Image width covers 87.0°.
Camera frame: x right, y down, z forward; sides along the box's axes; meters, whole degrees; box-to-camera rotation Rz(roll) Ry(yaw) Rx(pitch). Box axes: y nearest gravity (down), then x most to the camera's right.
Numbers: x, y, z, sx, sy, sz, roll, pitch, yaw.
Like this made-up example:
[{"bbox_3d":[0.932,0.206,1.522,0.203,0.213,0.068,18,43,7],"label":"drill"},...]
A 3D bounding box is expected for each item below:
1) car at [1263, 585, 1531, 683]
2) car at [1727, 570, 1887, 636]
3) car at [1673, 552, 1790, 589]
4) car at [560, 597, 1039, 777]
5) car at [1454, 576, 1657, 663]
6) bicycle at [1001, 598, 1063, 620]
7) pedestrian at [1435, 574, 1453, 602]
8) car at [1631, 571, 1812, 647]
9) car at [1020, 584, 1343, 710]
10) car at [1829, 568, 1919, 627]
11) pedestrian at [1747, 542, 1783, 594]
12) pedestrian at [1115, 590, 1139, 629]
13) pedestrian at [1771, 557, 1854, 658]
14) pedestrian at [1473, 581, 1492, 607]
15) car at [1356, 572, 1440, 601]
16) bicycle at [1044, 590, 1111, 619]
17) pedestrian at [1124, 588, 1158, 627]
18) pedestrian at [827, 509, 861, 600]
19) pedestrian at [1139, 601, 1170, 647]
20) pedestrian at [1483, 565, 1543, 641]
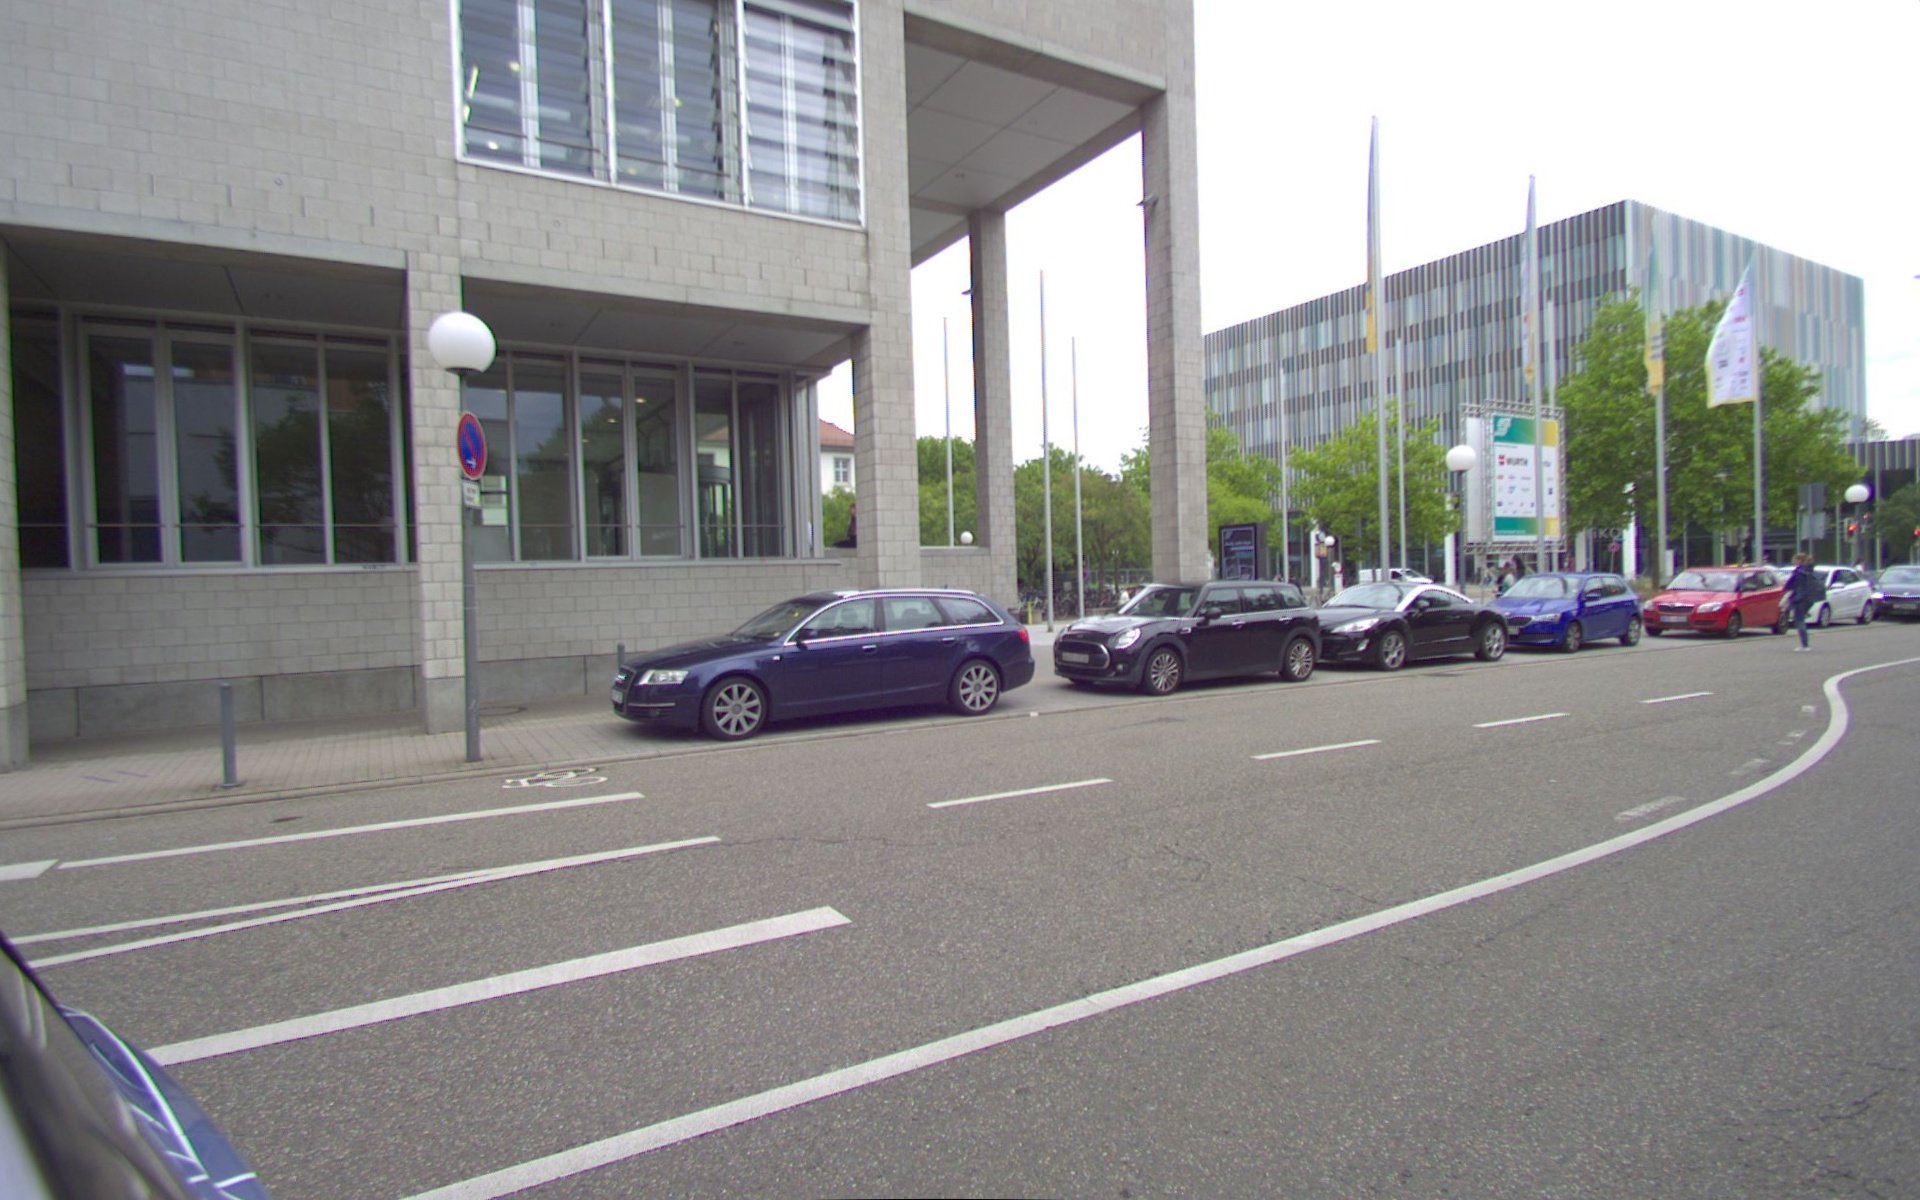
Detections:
[{"bbox_3d":[7.291,0.510,16.804,4.343,1.453,1.860,0,-1,-30],"label":"car"},{"bbox_3d":[20.867,0.051,24.924,3.793,1.464,1.872,-2,0,-31],"label":"car"},{"bbox_3d":[38.639,-1.446,50.785,1.966,1.630,4.207,-2,0,-28],"label":"car"},{"bbox_3d":[-1.694,0.796,11.290,4.839,1.463,2.006,-2,0,-31],"label":"car"},{"bbox_3d":[11.566,0.320,19.571,4.304,1.422,1.705,-2,1,-34],"label":"car"},{"bbox_3d":[4.010,0.491,56.407,3.335,1.179,1.059,0,-2,-25],"label":"bicycle"},{"bbox_3d":[35.617,-0.857,74.441,0.985,2.029,0.856,1,-3,-42],"label":"pedestrian"},{"bbox_3d":[16.705,0.131,22.160,4.201,1.484,1.723,-2,2,-31],"label":"car"},{"bbox_3d":[3.193,0.544,14.288,4.444,1.454,1.829,-2,2,-32],"label":"car"},{"bbox_3d":[25.225,-0.107,27.160,1.857,1.412,4.438,-1,1,27],"label":"car"},{"bbox_3d":[27.373,-1.071,34.414,0.648,1.728,0.585,-2,-1,-1],"label":"pedestrian"},{"bbox_3d":[6.242,0.353,37.807,0.670,1.424,0.762,-2,0,28],"label":"pedestrian"},{"bbox_3d":[14.563,0.122,17.297,0.951,1.674,0.743,-1,0,-26],"label":"pedestrian"},{"bbox_3d":[41.728,-0.507,80.869,0.840,2.029,1.004,0,-2,-23],"label":"pedestrian"},{"bbox_3d":[29.120,-0.871,67.440,1.966,1.675,4.853,-2,-1,-33],"label":"car"},{"bbox_3d":[5.241,0.191,45.015,3.055,1.179,0.750,-2,0,-29],"label":"bicycle"},{"bbox_3d":[6.903,0.295,38.569,0.954,1.431,0.853,-2,0,-42],"label":"pedestrian"},{"bbox_3d":[-2.222,-0.859,19.369,0.621,1.671,0.808,0,-2,-6],"label":"pedestrian"},{"bbox_3d":[7.515,0.925,39.060,0.850,1.717,0.958,-1,1,33],"label":"pedestrian"},{"bbox_3d":[12.398,0.075,22.702,0.915,1.653,0.739,-2,-1,-26],"label":"pedestrian"}]
